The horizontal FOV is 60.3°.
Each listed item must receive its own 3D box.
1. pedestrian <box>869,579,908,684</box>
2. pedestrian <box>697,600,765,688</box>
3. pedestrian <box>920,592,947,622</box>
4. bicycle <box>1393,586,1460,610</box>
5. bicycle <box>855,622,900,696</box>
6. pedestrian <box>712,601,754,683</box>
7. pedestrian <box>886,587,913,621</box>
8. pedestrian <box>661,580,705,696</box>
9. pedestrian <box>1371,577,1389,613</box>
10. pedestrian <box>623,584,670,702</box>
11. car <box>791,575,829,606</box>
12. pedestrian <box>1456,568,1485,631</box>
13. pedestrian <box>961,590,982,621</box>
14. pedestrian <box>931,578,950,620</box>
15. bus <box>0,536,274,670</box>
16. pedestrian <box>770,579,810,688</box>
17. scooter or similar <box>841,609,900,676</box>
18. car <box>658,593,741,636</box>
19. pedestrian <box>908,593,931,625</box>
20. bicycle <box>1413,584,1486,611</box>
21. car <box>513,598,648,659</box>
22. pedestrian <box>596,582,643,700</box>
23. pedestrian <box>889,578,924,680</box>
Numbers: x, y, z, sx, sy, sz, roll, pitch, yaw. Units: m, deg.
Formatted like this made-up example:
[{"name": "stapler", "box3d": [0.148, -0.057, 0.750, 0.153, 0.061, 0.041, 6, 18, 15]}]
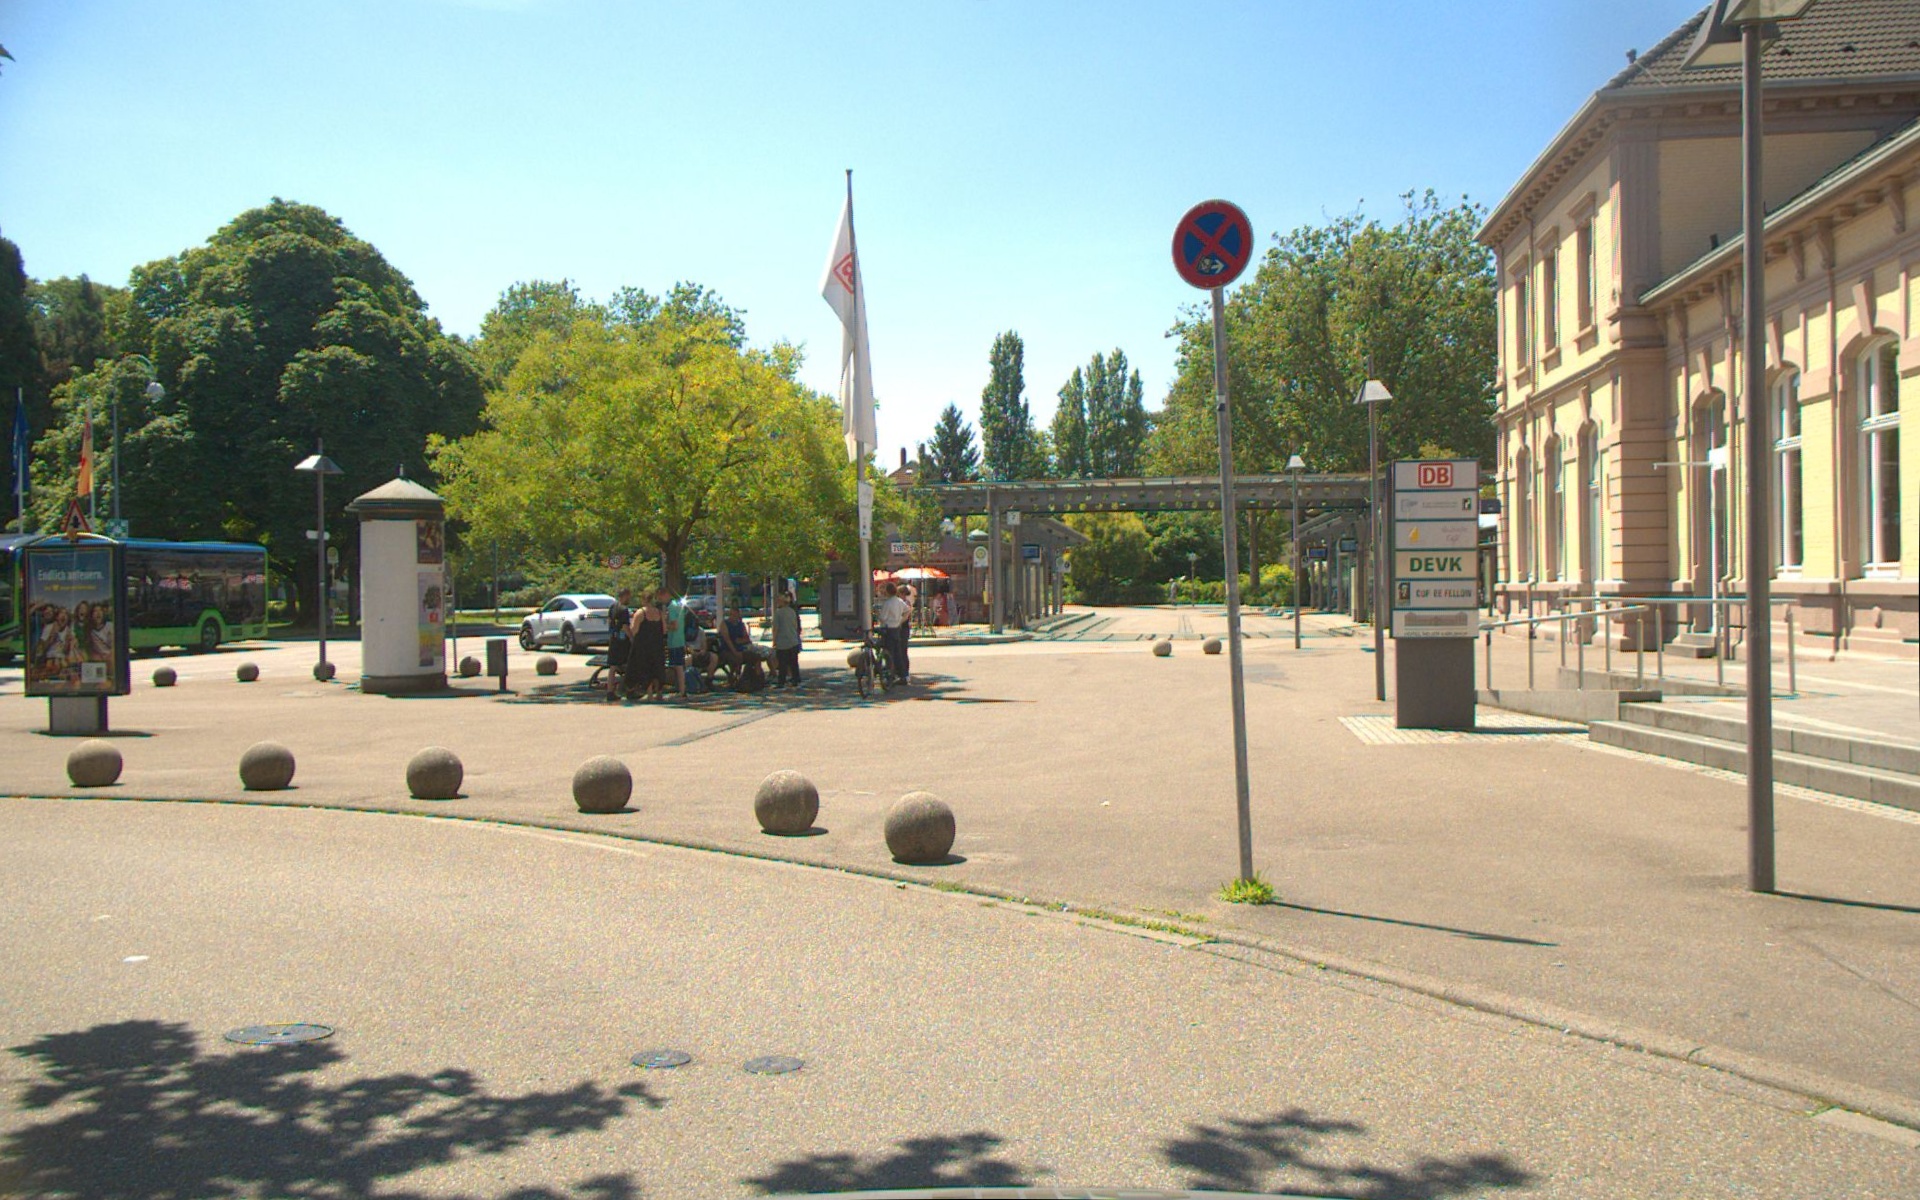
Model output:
[{"name": "pedestrian", "box3d": [-1.195, 0.513, 27.603, 0.605, 1.714, 0.590, -1, 0, -5]}, {"name": "pedestrian", "box3d": [-3.828, 0.722, 27.605, 0.897, 1.410, 0.938, -1, 0, -22]}, {"name": "pedestrian", "box3d": [-1.067, 0.274, 67.163, 0.881, 1.181, 0.682, -1, 0, -27]}, {"name": "bicycle", "box3d": [20.562, -0.089, 72.882, 2.728, 1.021, 0.812, 1, 0, 5]}, {"name": "bicycle", "box3d": [-1.277, 0.907, 25.916, 0.411, 1.079, 1.950, -1, 0, 5]}, {"name": "pedestrian", "box3d": [-3.956, 0.724, 28.822, 0.589, 1.388, 0.596, -1, 1, -21]}, {"name": "pedestrian", "box3d": [-2.474, 0.165, 67.448, 0.881, 1.335, 0.682, -1, 0, -27]}, {"name": "pedestrian", "box3d": [-4.303, 0.583, 25.698, 0.574, 1.770, 0.597, -1, 0, -18]}, {"name": "pedestrian", "box3d": [17.197, -0.194, 67.729, 0.611, 1.419, 0.677, -2, -1, 7]}, {"name": "pedestrian", "box3d": [-4.769, 0.644, 25.170, 0.616, 1.770, 0.545, -1, 0, -18]}, {"name": "car", "box3d": [-11.132, -0.714, 122.473, 2.164, 2.211, 4.867, -1, 1, -12]}, {"name": "pedestrian", "box3d": [15.083, -0.030, 48.854, 0.675, 1.841, 0.630, -1, 0, 29]}, {"name": "pedestrian", "box3d": [0.476, 0.215, 66.440, 0.743, 1.226, 0.738, 1, 0, 7]}, {"name": "pedestrian", "box3d": [-0.832, -0.034, 70.617, 0.671, 1.768, 0.708, -1, 0, 7]}, {"name": "bus", "box3d": [-24.373, -0.006, 47.562, 2.749, 3.340, 12.435, -1, 1, 7]}, {"name": "pedestrian", "box3d": [-2.813, 0.550, 27.330, 0.503, 1.770, 0.567, -1, 0, -22]}, {"name": "scooter or similar", "box3d": [-1.580, 0.752, 29.278, 1.004, 1.159, 0.294, -1, 0, 0]}, {"name": "car", "box3d": [-10.112, 0.527, 64.564, 1.886, 1.486, 4.729, -4, 0, 7]}, {"name": "pedestrian", "box3d": [-1.546, 0.336, 63.164, 0.671, 1.181, 0.896, -1, 0, 12]}, {"name": "bicycle", "box3d": [19.823, -0.105, 67.023, 2.728, 1.021, 0.812, 1, 0, 5]}, {"name": "car", "box3d": [-11.088, 0.795, 48.121, 1.970, 1.655, 4.711, -2, 1, -39]}, {"name": "pedestrian", "box3d": [-5.297, 0.624, 25.722, 0.679, 1.794, 0.583, -1, 0, -13]}, {"name": "pedestrian", "box3d": [-0.909, 0.492, 28.224, 0.542, 1.714, 0.587, -1, 0, -5]}]
